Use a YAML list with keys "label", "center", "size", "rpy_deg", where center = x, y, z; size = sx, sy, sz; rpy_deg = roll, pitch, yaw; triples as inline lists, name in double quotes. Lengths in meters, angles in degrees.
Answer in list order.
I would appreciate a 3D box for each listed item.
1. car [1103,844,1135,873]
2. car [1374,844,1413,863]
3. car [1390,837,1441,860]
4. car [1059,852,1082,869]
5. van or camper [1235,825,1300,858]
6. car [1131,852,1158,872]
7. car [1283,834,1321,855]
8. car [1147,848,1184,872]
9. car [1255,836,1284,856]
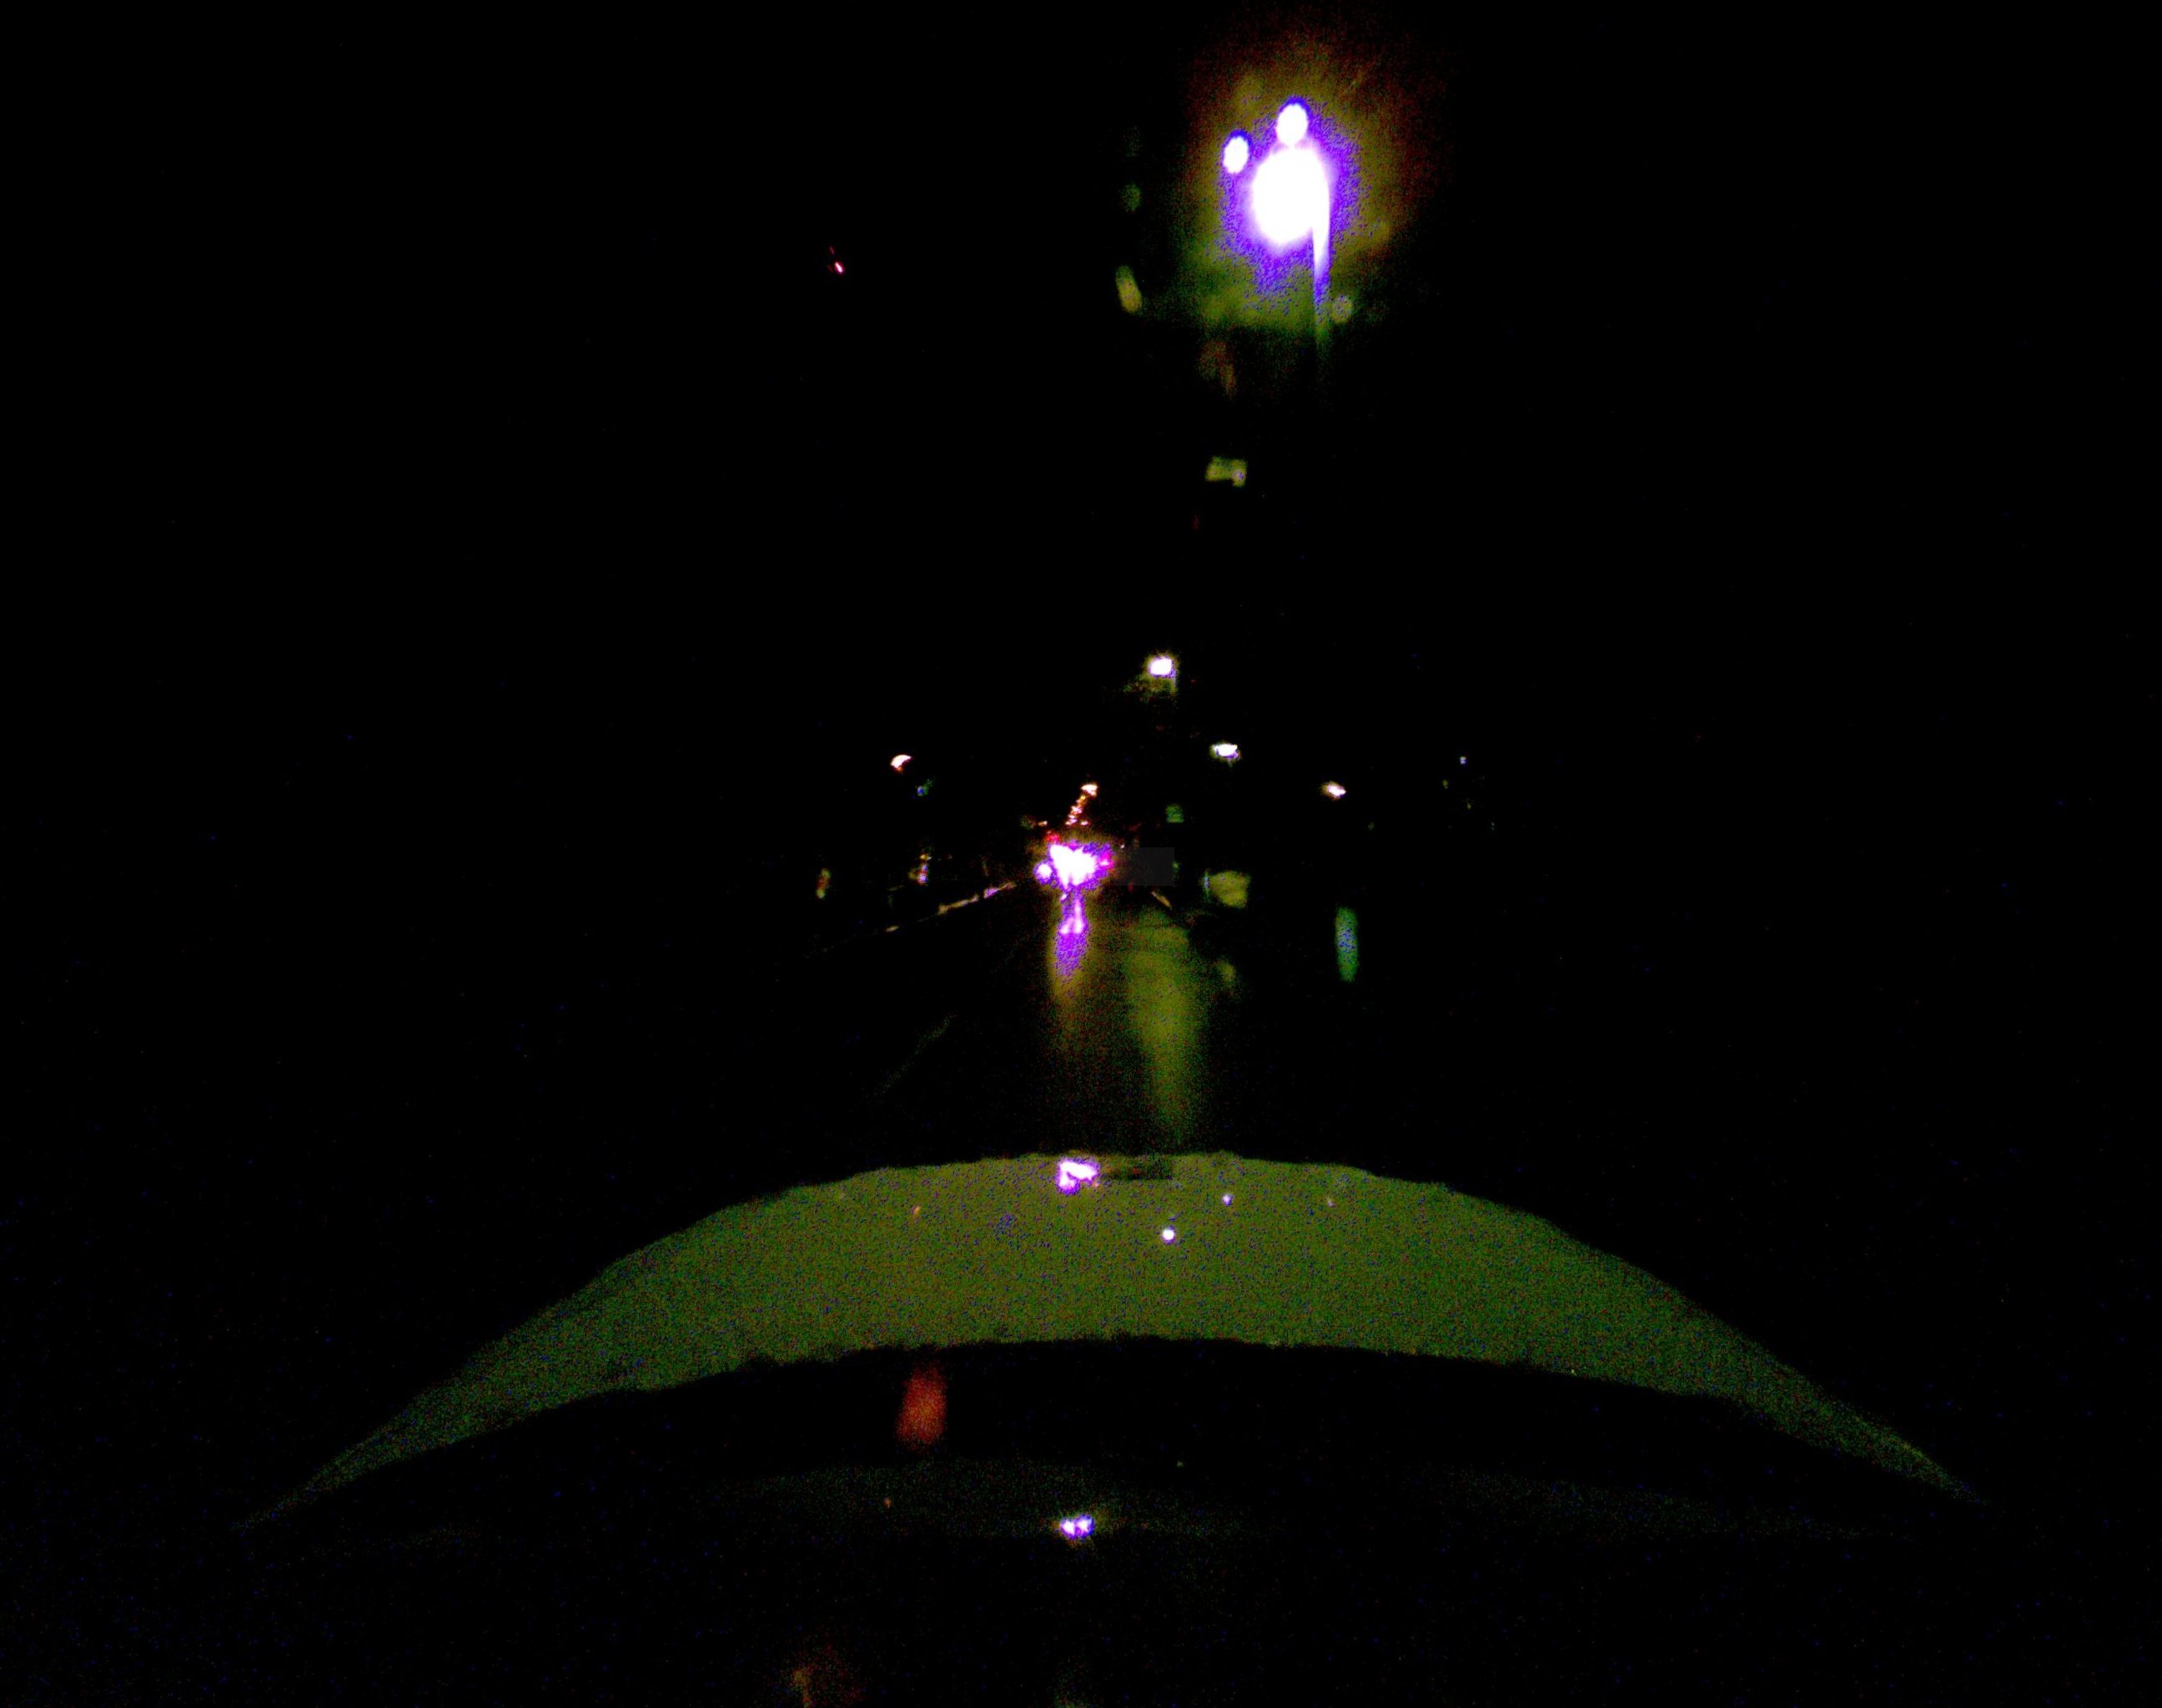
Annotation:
- label: "car"
  center: [2.511, 0.289, 53.715]
  size: [1.985, 1.683, 4.004]
  rpy_deg: [-2, 2, 3]
- label: "car"
  center: [25.406, -0.075, 66.249]
  size: [1.672, 1.413, 4.263]
  rpy_deg: [-2, 1, 3]
- label: "car"
  center: [22.566, -0.364, 55.101]
  size: [1.819, 1.467, 4.261]
  rpy_deg: [-1, 0, 2]
- label: "car"
  center: [-0.881, 0.549, 71.675]
  size: [1.738, 1.433, 4.003]
  rpy_deg: [-2, 0, 3]
- label: "van or camper"
  center: [16.076, -1.075, 70.435]
  size: [5.042, 2.527, 2.173]
  rpy_deg: [-2, 1, 2]
- label: "car"
  center: [5.151, 0.605, 66.567]
  size: [1.708, 1.488, 4.434]
  rpy_deg: [-3, 0, -1]
- label: "car"
  center: [17.907, -0.780, 66.104]
  size: [1.823, 1.547, 4.868]
  rpy_deg: [-2, 1, 1]
- label: "car"
  center: [5.711, 0.392, 55.622]
  size: [1.785, 1.449, 4.788]
  rpy_deg: [-4, 1, -1]
- label: "car"
  center: [15.374, -0.661, 66.579]
  size: [1.557, 1.469, 3.409]
  rpy_deg: [-2, 1, 1]
